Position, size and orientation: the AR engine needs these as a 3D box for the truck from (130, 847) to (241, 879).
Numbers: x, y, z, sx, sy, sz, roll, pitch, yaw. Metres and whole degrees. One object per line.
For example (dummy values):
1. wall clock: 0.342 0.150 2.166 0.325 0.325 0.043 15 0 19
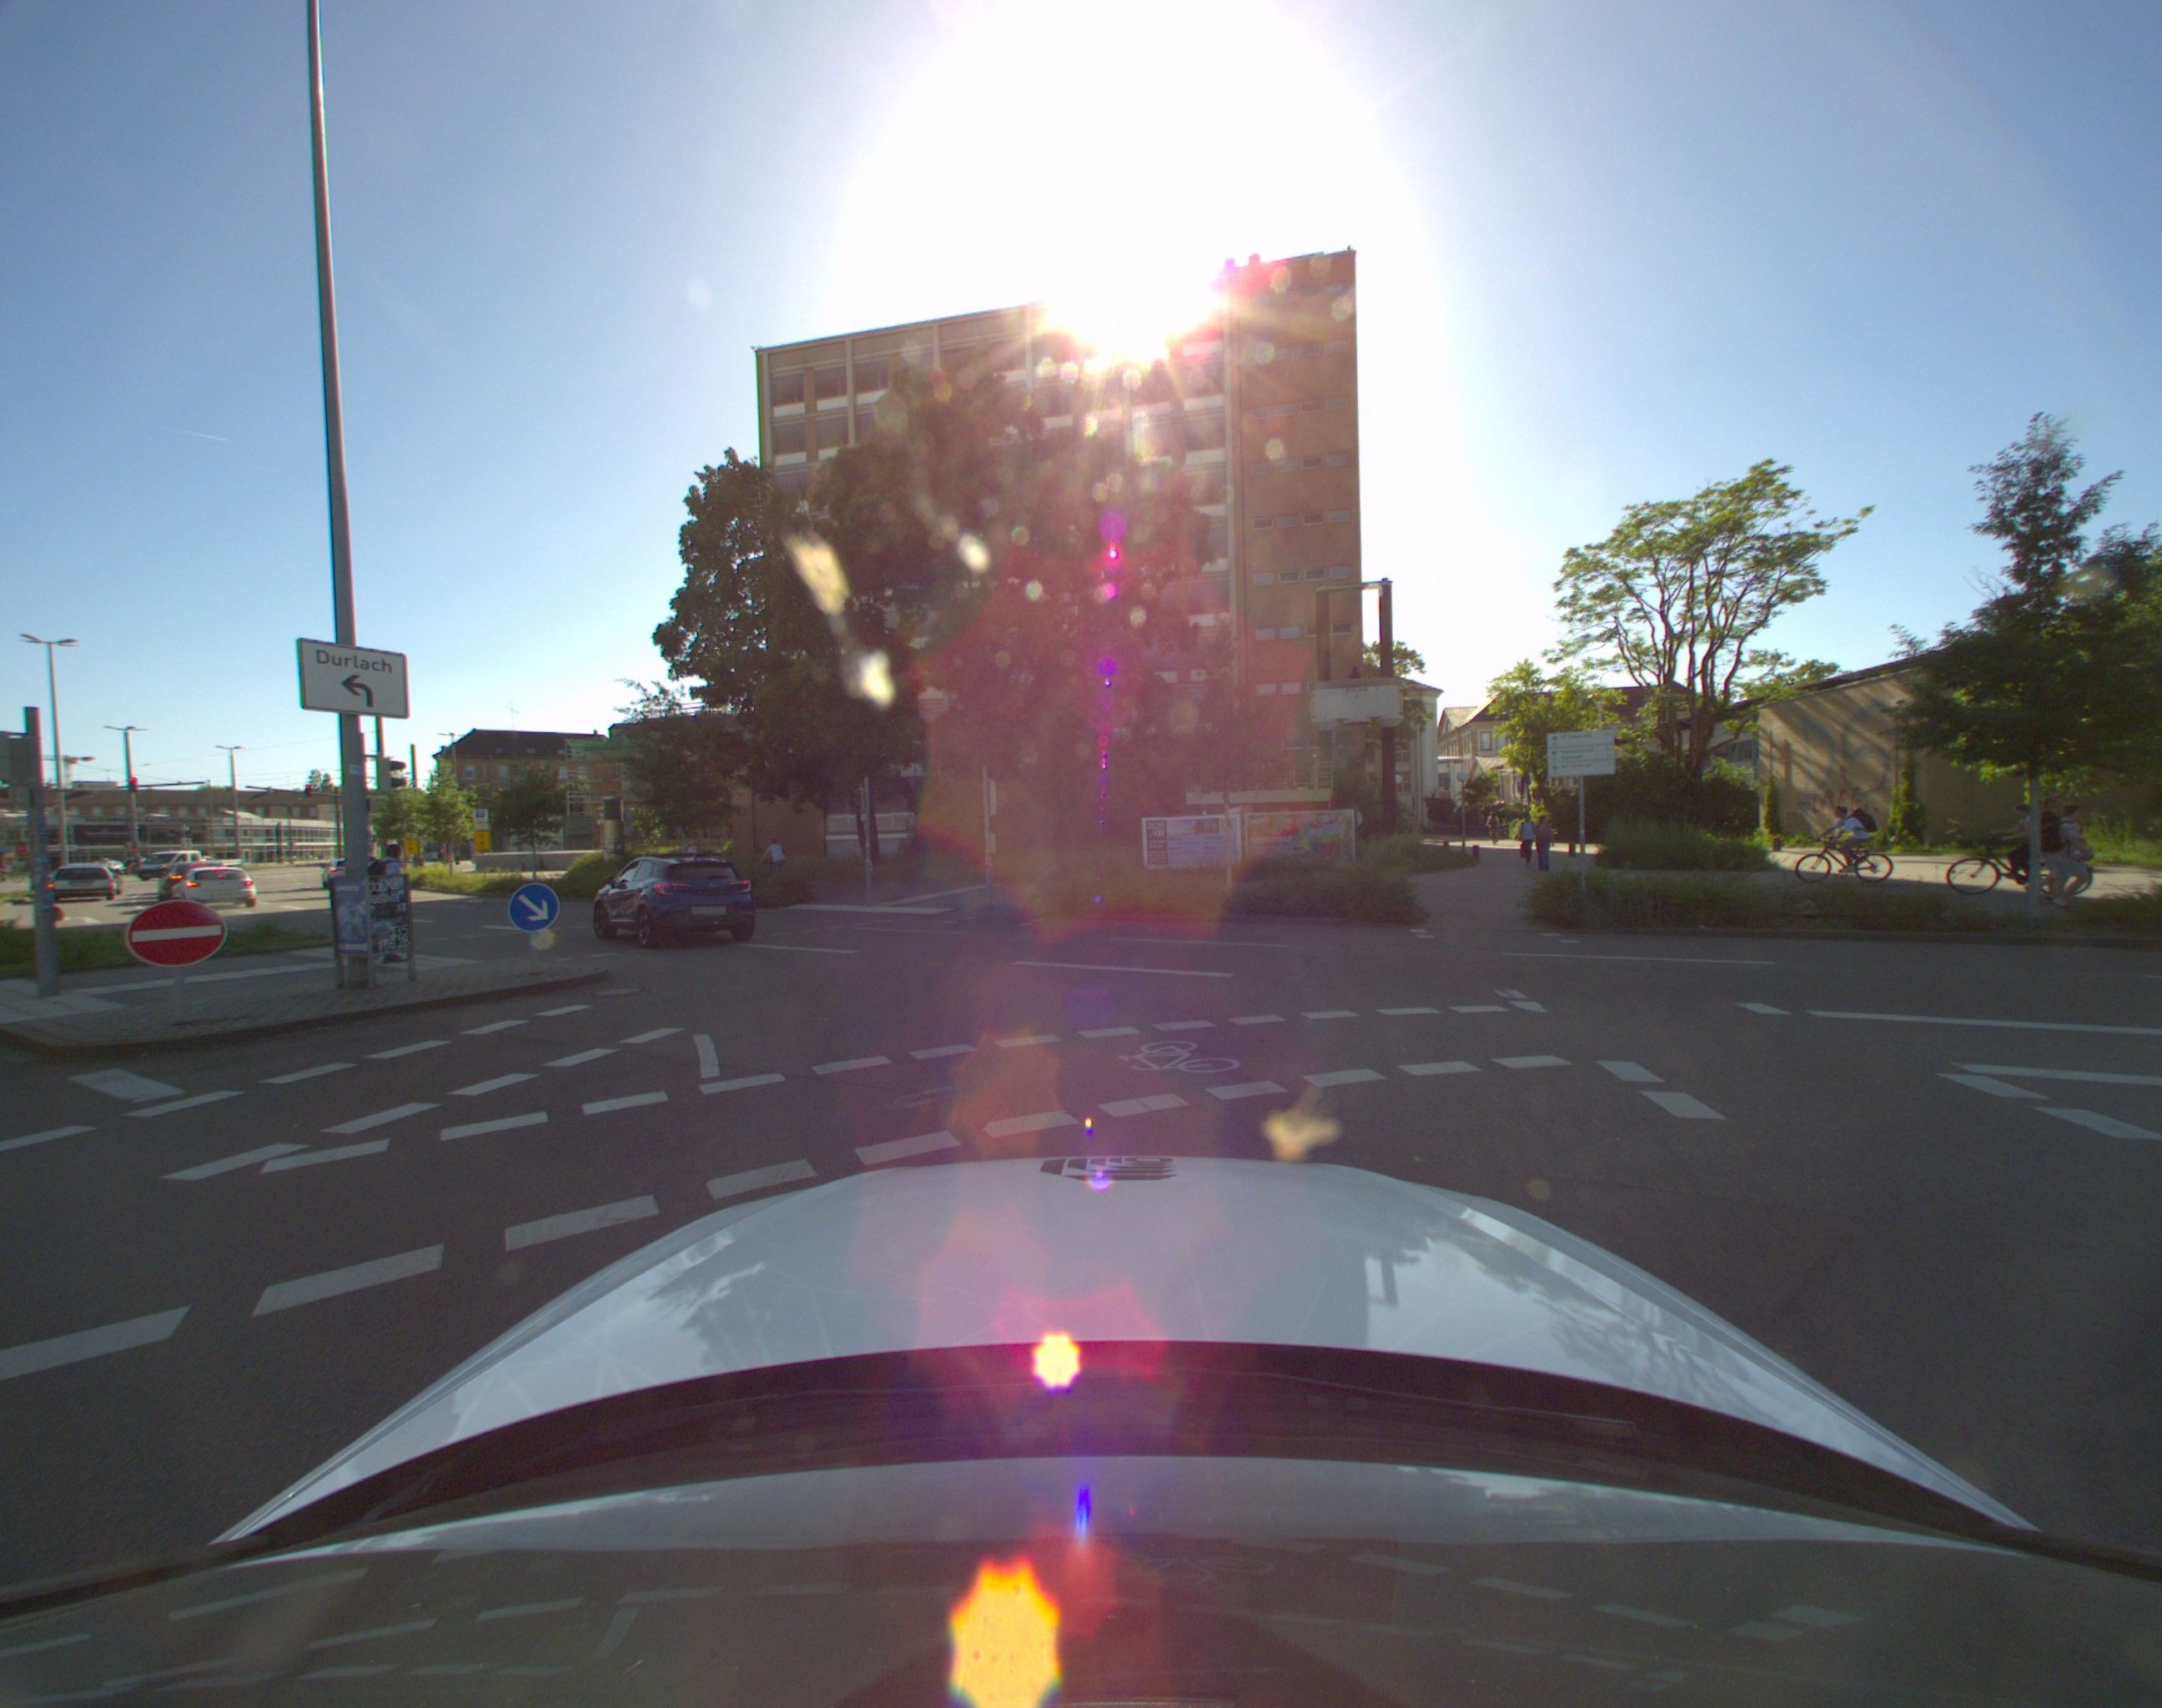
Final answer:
1. truck: -70.657 0.634 64.483 2.216 2.313 6.855 -2 1 -12

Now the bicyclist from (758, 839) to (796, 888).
1. bicyclist: -10.393 0.308 27.829 0.965 1.616 0.726 -1 2 29

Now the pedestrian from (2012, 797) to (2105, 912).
1. pedestrian: 16.017 -0.010 13.374 0.726 1.816 0.736 2 2 32

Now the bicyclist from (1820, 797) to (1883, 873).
1. bicyclist: 16.806 -0.408 17.782 0.822 1.595 0.635 -2 4 24

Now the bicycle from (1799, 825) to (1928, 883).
1. bicycle: 16.995 -0.002 17.749 1.933 1.164 0.647 -2 4 23

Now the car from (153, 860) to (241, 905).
1. car: -36.235 1.110 33.346 4.321 1.623 2.003 -1 2 37

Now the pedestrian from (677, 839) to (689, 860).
1. pedestrian: -33.468 -0.406 68.548 0.793 1.752 0.532 -1 3 -42

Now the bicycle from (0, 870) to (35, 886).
1. bicycle: -90.533 2.046 68.670 0.936 1.188 2.670 1 2 25

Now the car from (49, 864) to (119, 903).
1. car: -42.219 1.208 34.557 3.750 1.442 1.742 0 1 41

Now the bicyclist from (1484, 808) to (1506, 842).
1. bicyclist: 21.723 -1.513 42.712 0.983 1.734 0.713 -3 2 -42

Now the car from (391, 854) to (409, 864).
1. car: -115.854 0.823 138.576 1.793 1.544 3.603 -1 3 -33

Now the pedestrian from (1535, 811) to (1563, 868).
1. pedestrian: 13.632 -0.432 23.722 0.669 1.643 0.740 2 2 31

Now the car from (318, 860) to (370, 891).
1. car: -41.290 1.153 45.604 3.579 1.617 1.894 -1 0 44

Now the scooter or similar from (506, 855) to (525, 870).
1. scooter or similar: -40.568 0.603 58.409 1.235 1.012 0.471 1 2 20

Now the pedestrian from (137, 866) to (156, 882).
1. pedestrian: -87.116 1.873 75.918 0.687 1.408 0.868 1 2 12

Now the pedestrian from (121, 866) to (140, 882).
1. pedestrian: -87.349 1.865 74.839 0.687 1.408 0.868 1 2 12

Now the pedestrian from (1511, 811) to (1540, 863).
1. pedestrian: 14.312 -0.571 26.212 0.669 1.643 0.741 2 2 37

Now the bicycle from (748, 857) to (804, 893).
1. bicycle: -10.427 0.699 27.847 1.846 1.165 0.723 0 2 30

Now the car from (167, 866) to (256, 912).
1. car: -30.737 1.174 28.766 3.688 1.435 1.708 -1 2 37

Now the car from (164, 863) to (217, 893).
1. car: -45.420 1.203 41.562 3.750 1.442 1.741 0 0 42

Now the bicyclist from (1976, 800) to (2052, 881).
1. bicyclist: 17.261 -0.247 15.081 0.766 1.444 0.647 -1 3 32

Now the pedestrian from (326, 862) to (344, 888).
1. pedestrian: -50.236 1.392 54.851 0.596 1.723 0.864 -3 -1 -22

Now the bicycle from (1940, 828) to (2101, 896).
1. bicycle: 17.313 0.149 15.077 1.846 1.165 0.647 -1 3 32

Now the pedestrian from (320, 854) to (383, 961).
1. pedestrian: -11.572 0.817 12.919 0.686 1.612 0.710 -2 1 -43

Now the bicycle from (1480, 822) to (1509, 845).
1. bicycle: 21.684 -1.069 42.677 1.880 1.165 0.739 -3 2 -41

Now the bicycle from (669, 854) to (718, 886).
1. bicycle: -14.884 0.604 31.271 1.846 1.165 0.753 0 2 31

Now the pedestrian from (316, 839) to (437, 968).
1. pedestrian: -10.485 0.699 12.162 0.750 1.832 1.098 -1 0 6

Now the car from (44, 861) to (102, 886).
1. car: -95.356 1.810 77.103 2.006 2.013 3.963 -1 2 -29

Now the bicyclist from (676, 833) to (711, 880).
1. bicyclist: -14.849 0.100 31.228 0.965 1.762 0.726 0 2 31

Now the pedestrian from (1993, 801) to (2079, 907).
1. pedestrian: 16.584 -0.024 14.168 0.726 1.781 0.736 2 2 32

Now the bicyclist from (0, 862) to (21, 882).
1. bicyclist: -90.496 1.523 68.701 0.936 1.584 1.072 1 2 24

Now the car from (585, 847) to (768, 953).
1. car: -7.531 0.726 15.028 1.894 1.617 3.751 -3 3 -45
